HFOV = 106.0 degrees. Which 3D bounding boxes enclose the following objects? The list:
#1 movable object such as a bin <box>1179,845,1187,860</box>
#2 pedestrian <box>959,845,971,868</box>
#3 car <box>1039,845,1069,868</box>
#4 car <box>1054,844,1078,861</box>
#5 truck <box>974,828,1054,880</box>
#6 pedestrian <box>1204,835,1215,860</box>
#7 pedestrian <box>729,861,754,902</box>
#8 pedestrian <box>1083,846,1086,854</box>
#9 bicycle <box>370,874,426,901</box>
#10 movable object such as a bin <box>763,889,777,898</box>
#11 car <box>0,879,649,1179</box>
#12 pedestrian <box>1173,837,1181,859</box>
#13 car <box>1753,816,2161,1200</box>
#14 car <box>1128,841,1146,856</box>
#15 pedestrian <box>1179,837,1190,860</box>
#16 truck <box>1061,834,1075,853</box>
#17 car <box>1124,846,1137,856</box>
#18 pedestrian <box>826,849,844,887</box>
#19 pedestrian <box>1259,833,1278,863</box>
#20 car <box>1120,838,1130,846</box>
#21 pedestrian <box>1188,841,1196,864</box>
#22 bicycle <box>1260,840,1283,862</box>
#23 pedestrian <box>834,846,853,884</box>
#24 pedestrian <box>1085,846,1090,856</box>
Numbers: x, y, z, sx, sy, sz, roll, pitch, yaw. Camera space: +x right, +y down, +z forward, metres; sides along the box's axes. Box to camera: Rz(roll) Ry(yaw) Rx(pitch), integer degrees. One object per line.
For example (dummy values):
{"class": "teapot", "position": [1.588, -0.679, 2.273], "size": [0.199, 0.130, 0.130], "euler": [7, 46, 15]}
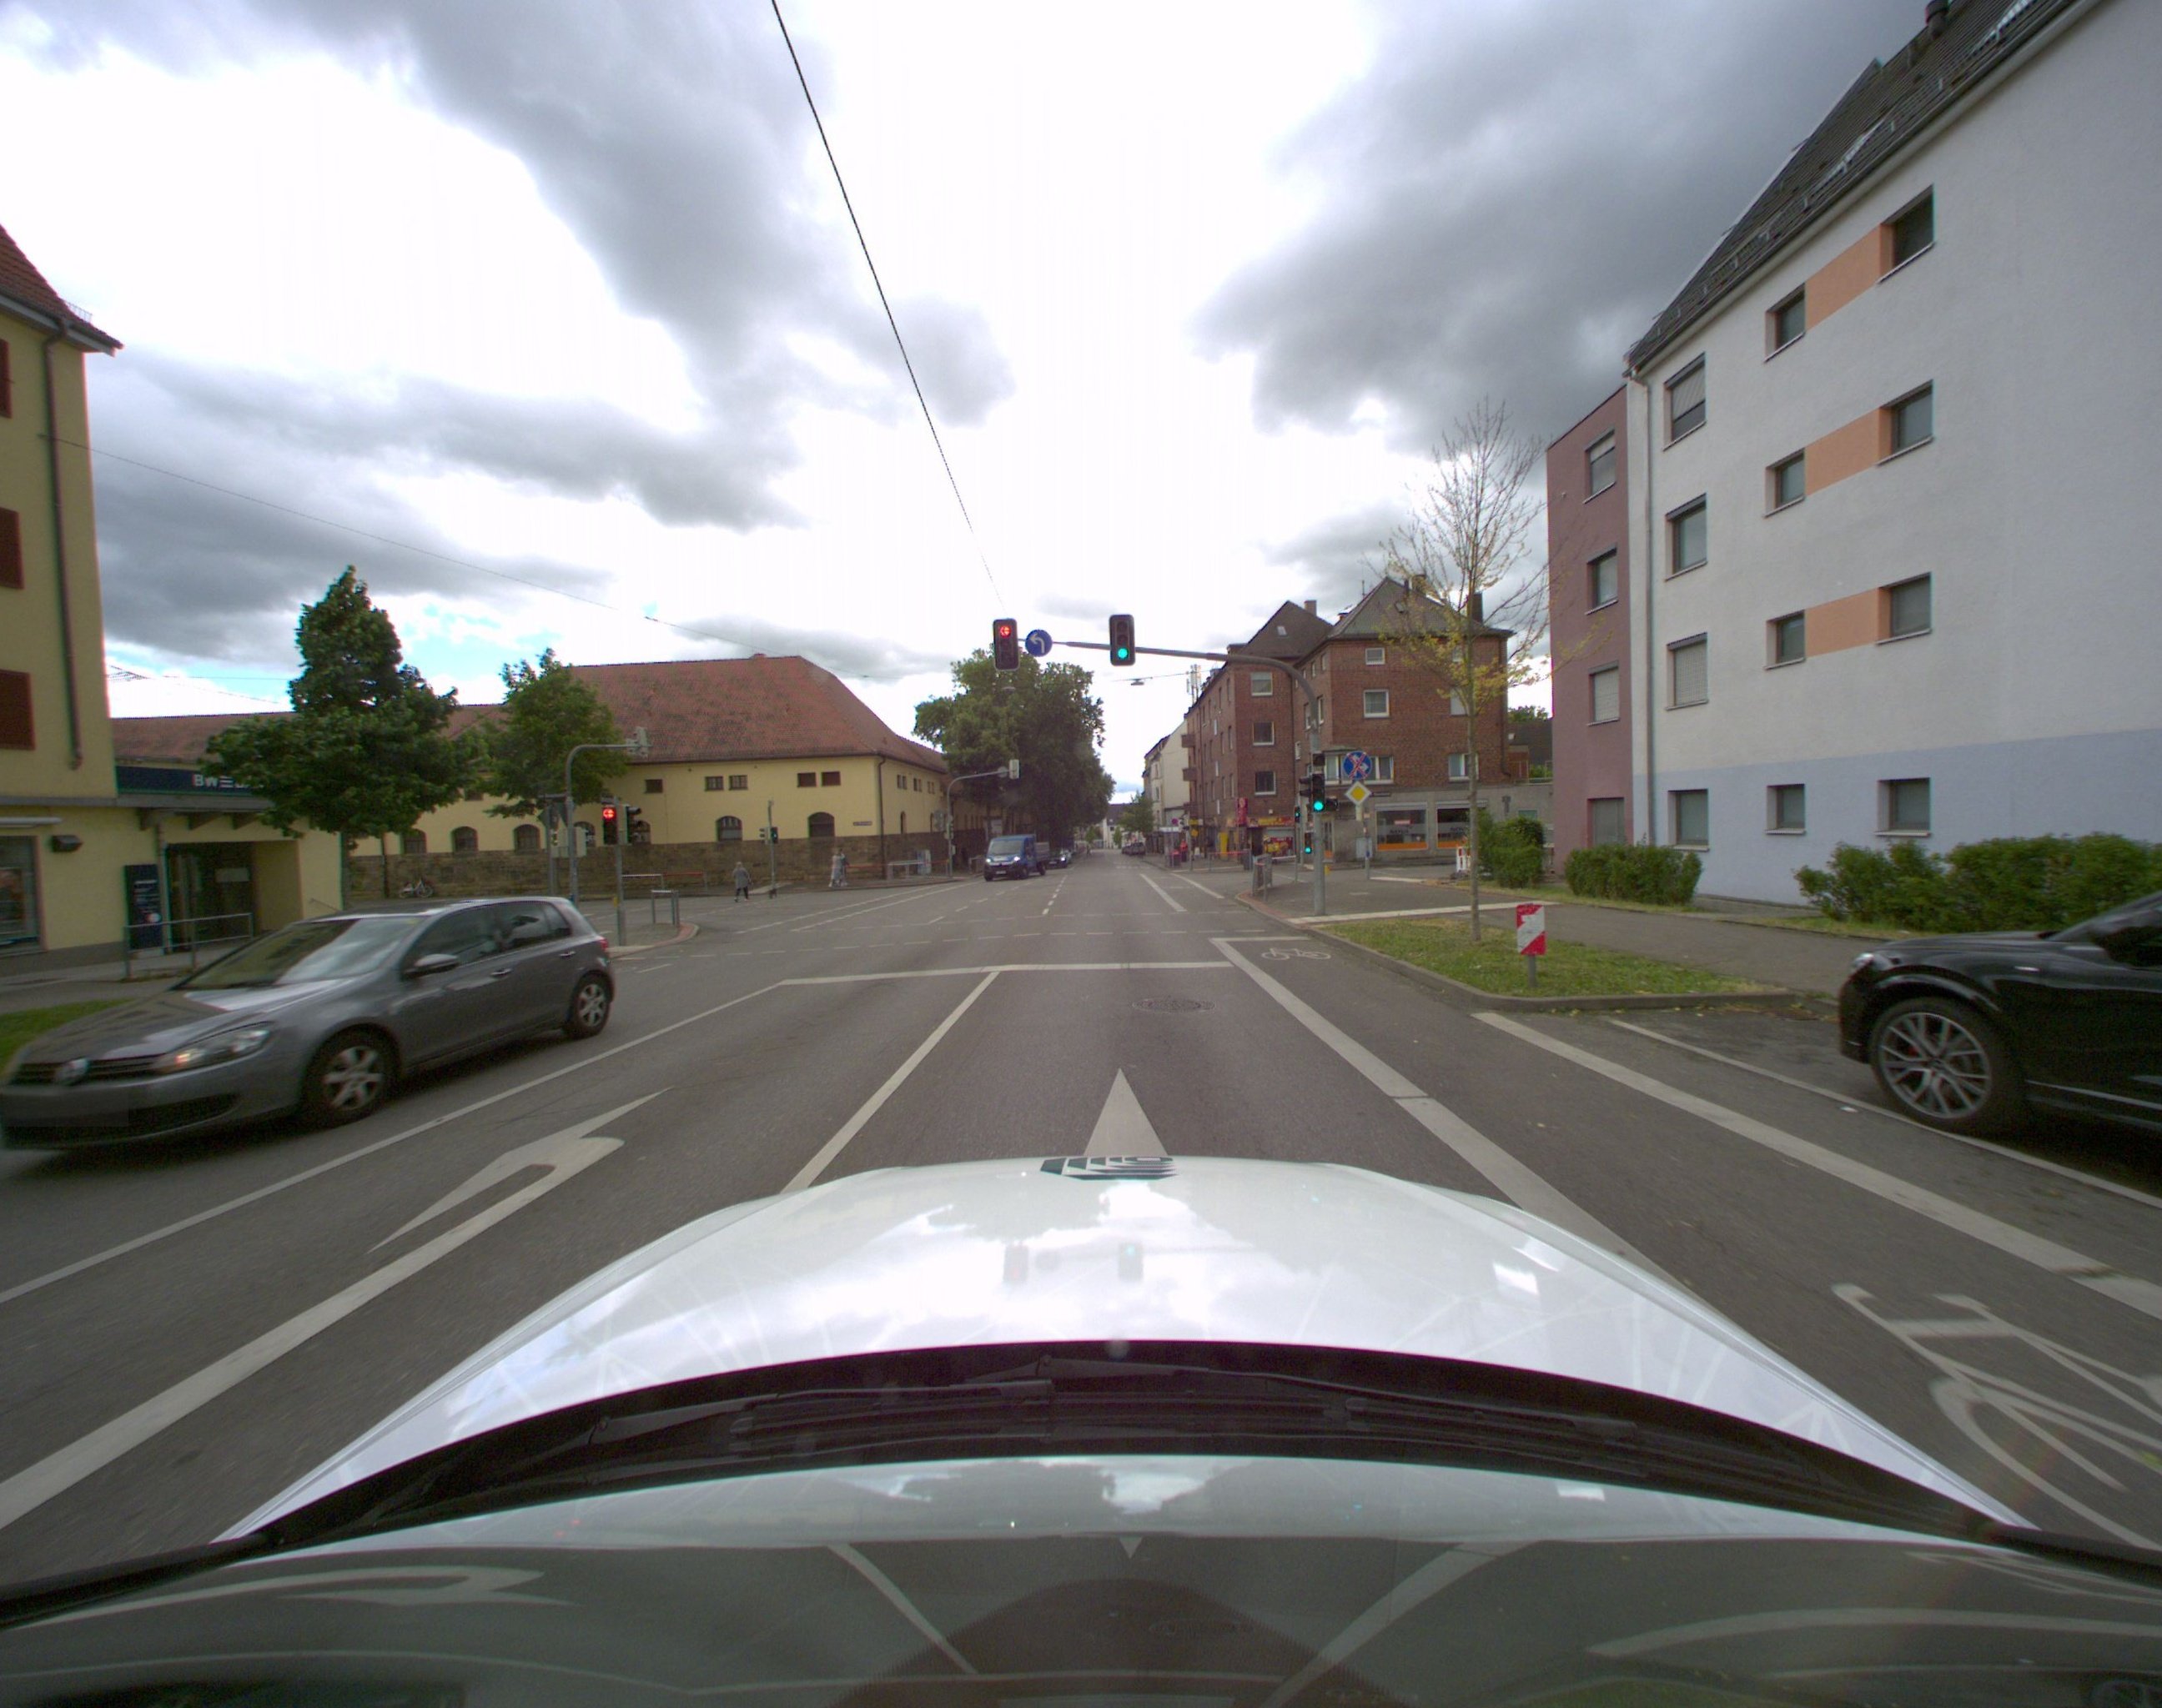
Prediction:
{"class": "movable object such as a bin", "position": [7.400, -0.089, 58.883], "size": [0.449, 1.056, 0.412], "euler": [-2, 0, 21]}
{"class": "pedestrian", "position": [-8.735, 0.182, 61.378], "size": [0.672, 1.765, 0.726], "euler": [-2, 0, 1]}
{"class": "car", "position": [-1.843, 0.136, 57.094], "size": [1.695, 1.414, 4.196], "euler": [-3, 1, 3]}
{"class": "car", "position": [-1.245, -0.116, 69.733], "size": [1.678, 1.275, 4.099], "euler": [-4, 0, 3]}
{"class": "truck", "position": [-3.385, -0.065, 42.735], "size": [2.280, 2.427, 6.433], "euler": [-3, 1, 12]}
{"class": "pedestrian", "position": [8.878, -0.452, 56.386], "size": [0.644, 1.750, 0.779], "euler": [-2, 0, 7]}
{"class": "pedestrian", "position": [-13.544, 1.090, 32.509], "size": [0.561, 1.566, 0.844], "euler": [-2, 0, 7]}
{"class": "pedestrian", "position": [0.957, -0.999, 210.998], "size": [0.631, 2.013, 0.785], "euler": [-2, 0, 3]}
{"class": "bicycle", "position": [-34.529, 1.672, 41.170], "size": [2.309, 1.266, 0.515], "euler": [-2, 0, -2]}
{"class": "movable object such as a bin", "position": [-12.737, 1.620, 33.388], "size": [0.305, 0.347, 0.582], "euler": [-2, 1, 7]}
{"class": "car", "position": [-5.743, 1.086, 6.834], "size": [1.749, 1.472, 4.308], "euler": [-3, 1, 2]}
{"class": "pedestrian", "position": [7.865, -0.492, 66.734], "size": [0.666, 1.727, 0.765], "euler": [-2, 0, 7]}
{"class": "car", "position": [5.328, 0.629, 3.131], "size": [1.729, 1.588, 4.572], "euler": [0, 0, 0]}
{"class": "car", "position": [7.688, -0.820, 111.410], "size": [1.988, 1.935, 4.916], "euler": [-2, 1, -1]}
{"class": "pedestrian", "position": [7.494, -0.394, 59.079], "size": [0.560, 1.636, 0.684], "euler": [-2, 0, 21]}
{"class": "truck", "position": [-2.259, -1.897, 147.969], "size": [2.223, 3.346, 7.450], "euler": [-2, 1, 1]}
{"class": "car", "position": [8.192, -0.542, 135.020], "size": [1.664, 1.547, 3.755], "euler": [-2, 1, -1]}
{"class": "pedestrian", "position": [-11.487, 0.646, 38.017], "size": [0.562, 1.777, 0.717], "euler": [-2, 0, 1]}
{"class": "pedestrian", "position": [10.585, -0.339, 46.005], "size": [0.785, 1.656, 0.772], "euler": [-4, 0, 2]}
{"class": "car", "position": [8.970, -2.444, 165.150], "size": [1.664, 1.547, 3.755], "euler": [-2, 1, -1]}
{"class": "pedestrian", "position": [8.593, -0.109, 63.118], "size": [0.477, 1.765, 0.458], "euler": [-2, 0, 1]}
{"class": "bicycle", "position": [10.703, -0.165, 45.781], "size": [0.757, 1.193, 2.392], "euler": [-2, 1, 2]}
{"class": "pedestrian", "position": [-11.348, 0.531, 38.907], "size": [0.562, 1.777, 0.842], "euler": [-2, 0, 1]}
{"class": "pedestrian", "position": [1.047, -0.526, 129.921], "size": [0.676, 1.536, 0.606], "euler": [-2, 0, -26]}
